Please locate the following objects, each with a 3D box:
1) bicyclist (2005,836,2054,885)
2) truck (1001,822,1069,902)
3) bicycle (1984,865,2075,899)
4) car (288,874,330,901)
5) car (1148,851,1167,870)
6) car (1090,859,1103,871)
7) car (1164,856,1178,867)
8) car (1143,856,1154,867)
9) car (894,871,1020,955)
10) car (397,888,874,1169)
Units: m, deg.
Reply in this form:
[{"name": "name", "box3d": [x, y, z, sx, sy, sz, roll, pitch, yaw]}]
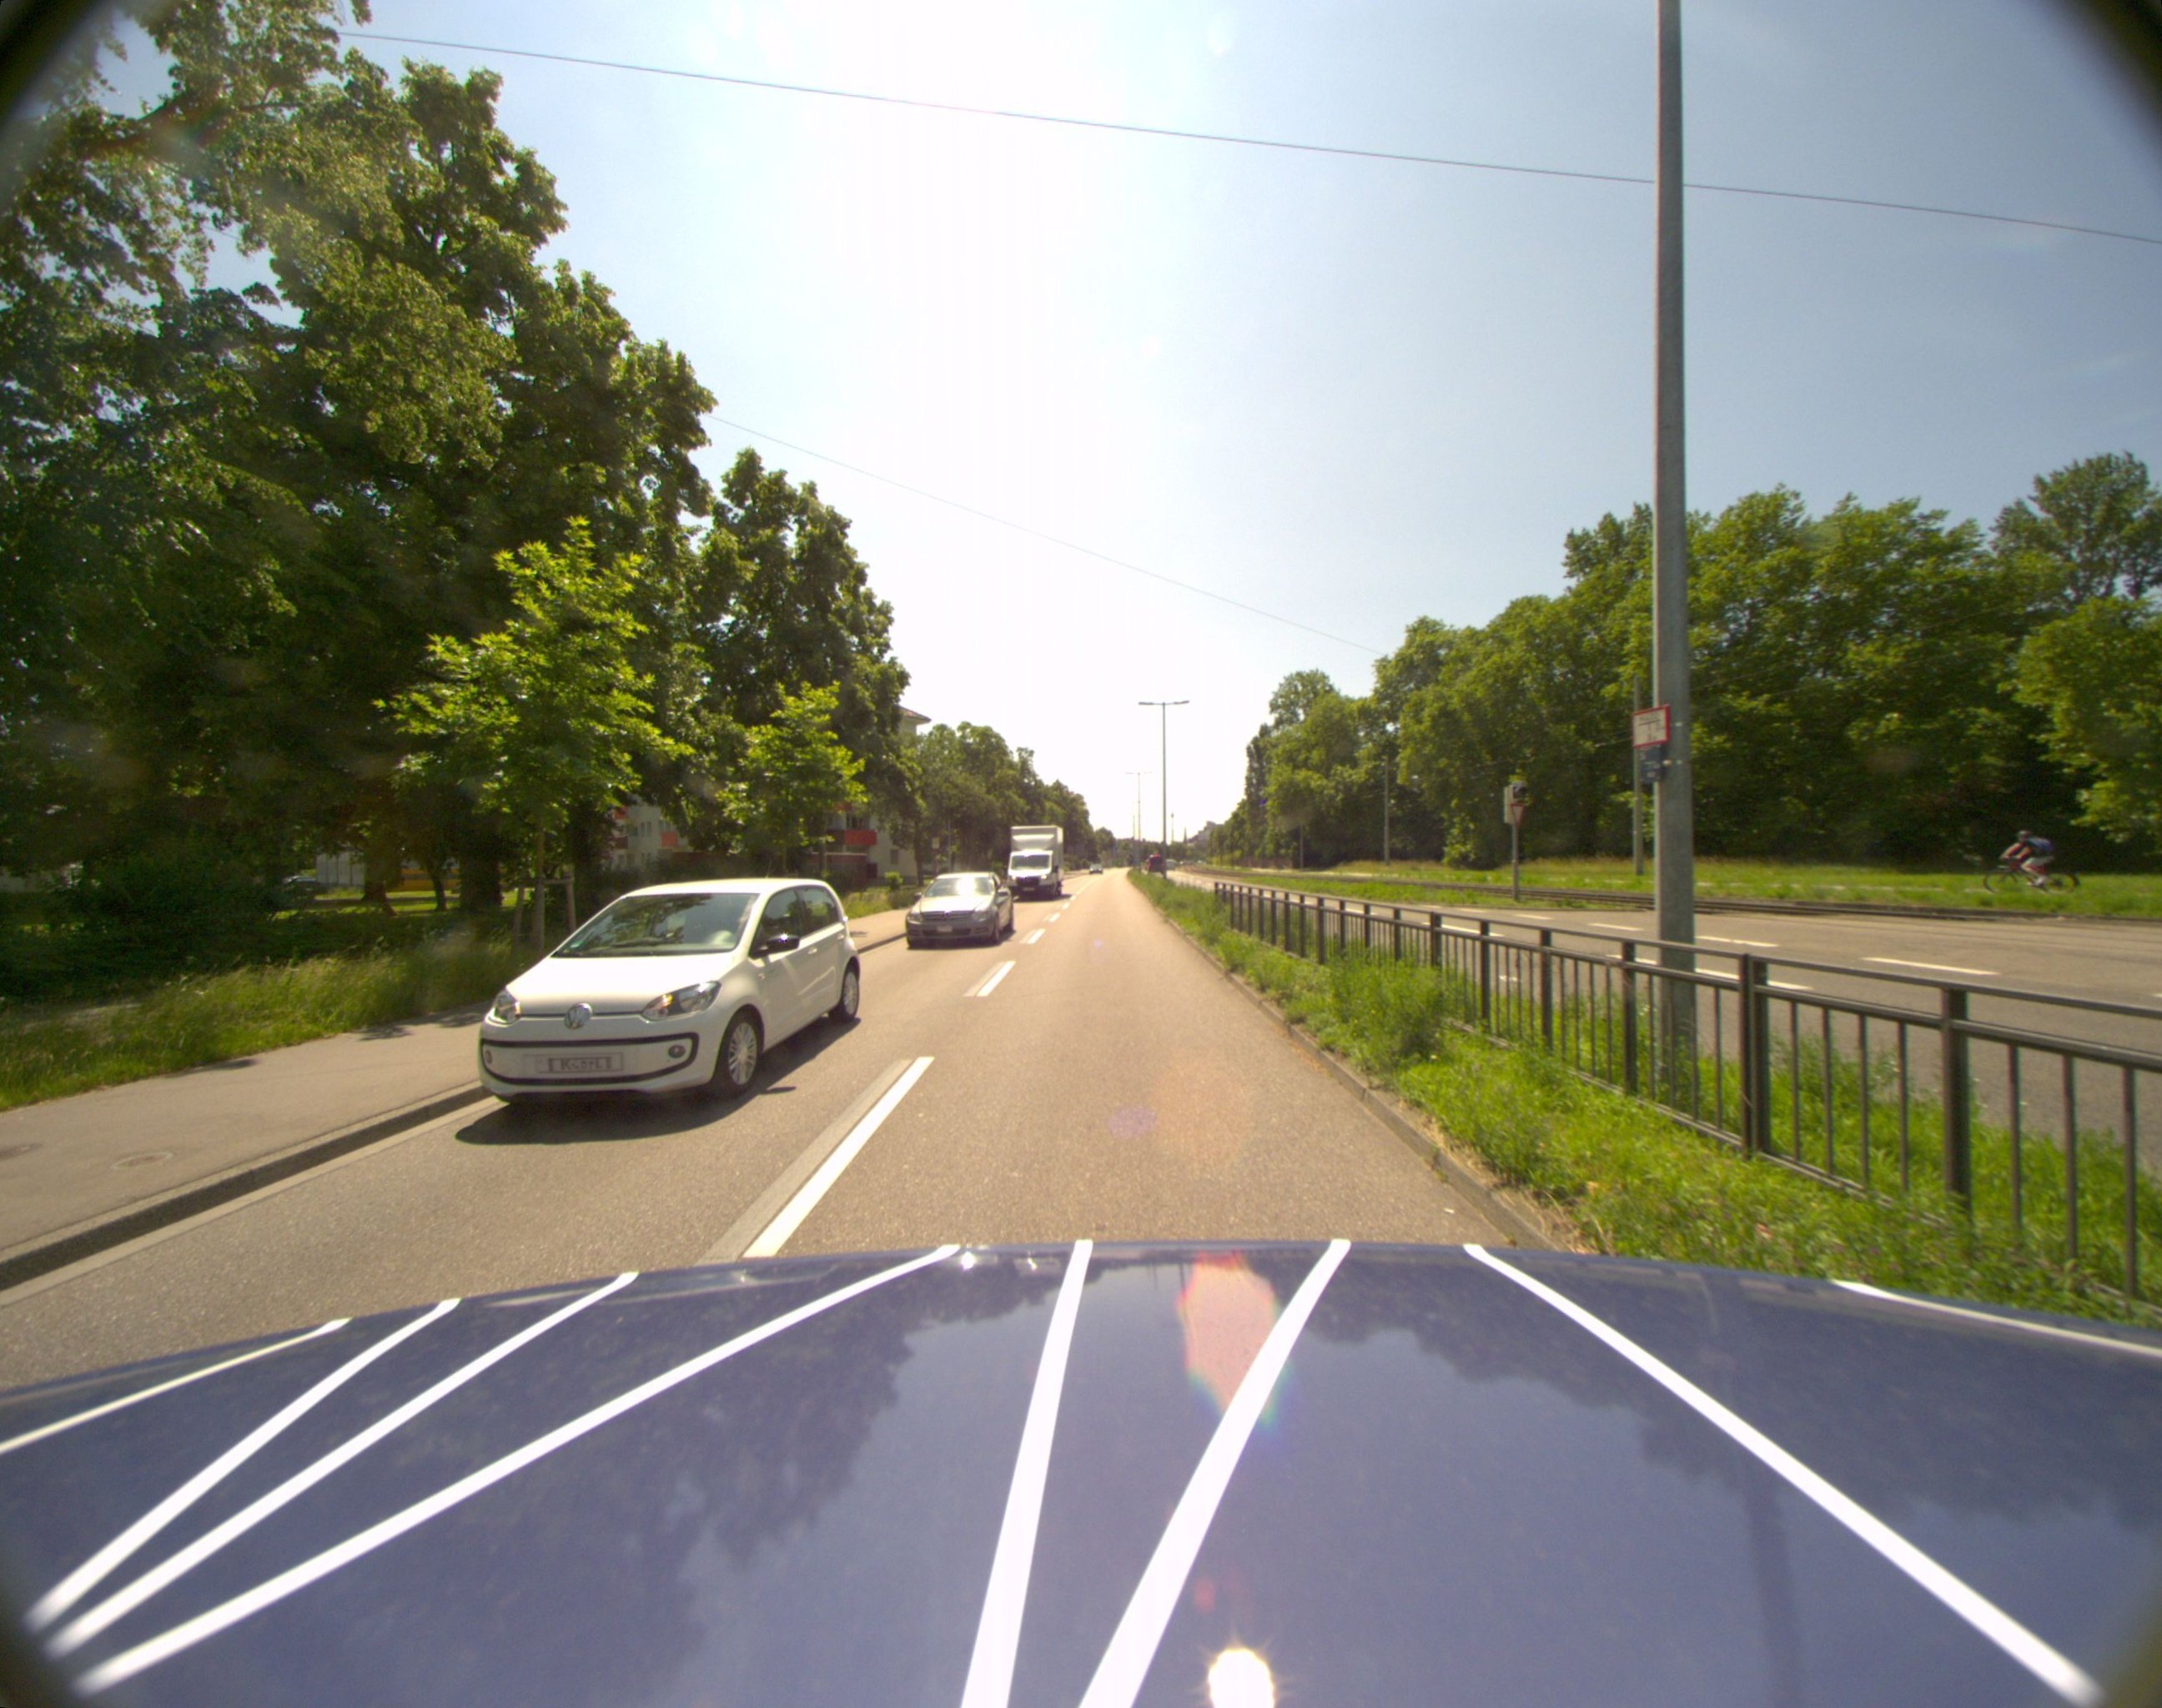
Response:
[{"name": "bicyclist", "box3d": [26.604, 0.184, 21.326, 0.509, 1.328, 0.680, -1, 0, -6]}, {"name": "truck", "box3d": [-1.991, 0.348, 35.924, 2.294, 3.259, 8.313, -2, 0, 2]}, {"name": "bicycle", "box3d": [26.660, 0.776, 21.384, 0.509, 0.896, 1.565, -1, 0, -6]}, {"name": "car", "box3d": [-51.407, 2.191, 50.582, 3.915, 1.714, 1.880, -1, 0, 44]}, {"name": "car", "box3d": [9.685, 0.832, 97.060, 1.998, 2.352, 5.373, 0, 0, 1]}, {"name": "car", "box3d": [2.218, 1.546, 106.894, 1.829, 1.556, 4.000, -1, 0, 1]}, {"name": "car", "box3d": [15.928, 1.342, 134.714, 1.998, 2.001, 5.031, 0, -1, 1]}, {"name": "car", "box3d": [11.624, 1.266, 130.322, 1.833, 1.895, 5.569, 0, 0, 6]}, {"name": "car", "box3d": [-2.486, 1.156, 16.219, 1.903, 1.451, 3.972, -3, -1, 1]}, {"name": "car", "box3d": [-3.136, 1.110, 6.385, 1.663, 1.441, 3.855, -2, 0, 0]}]
